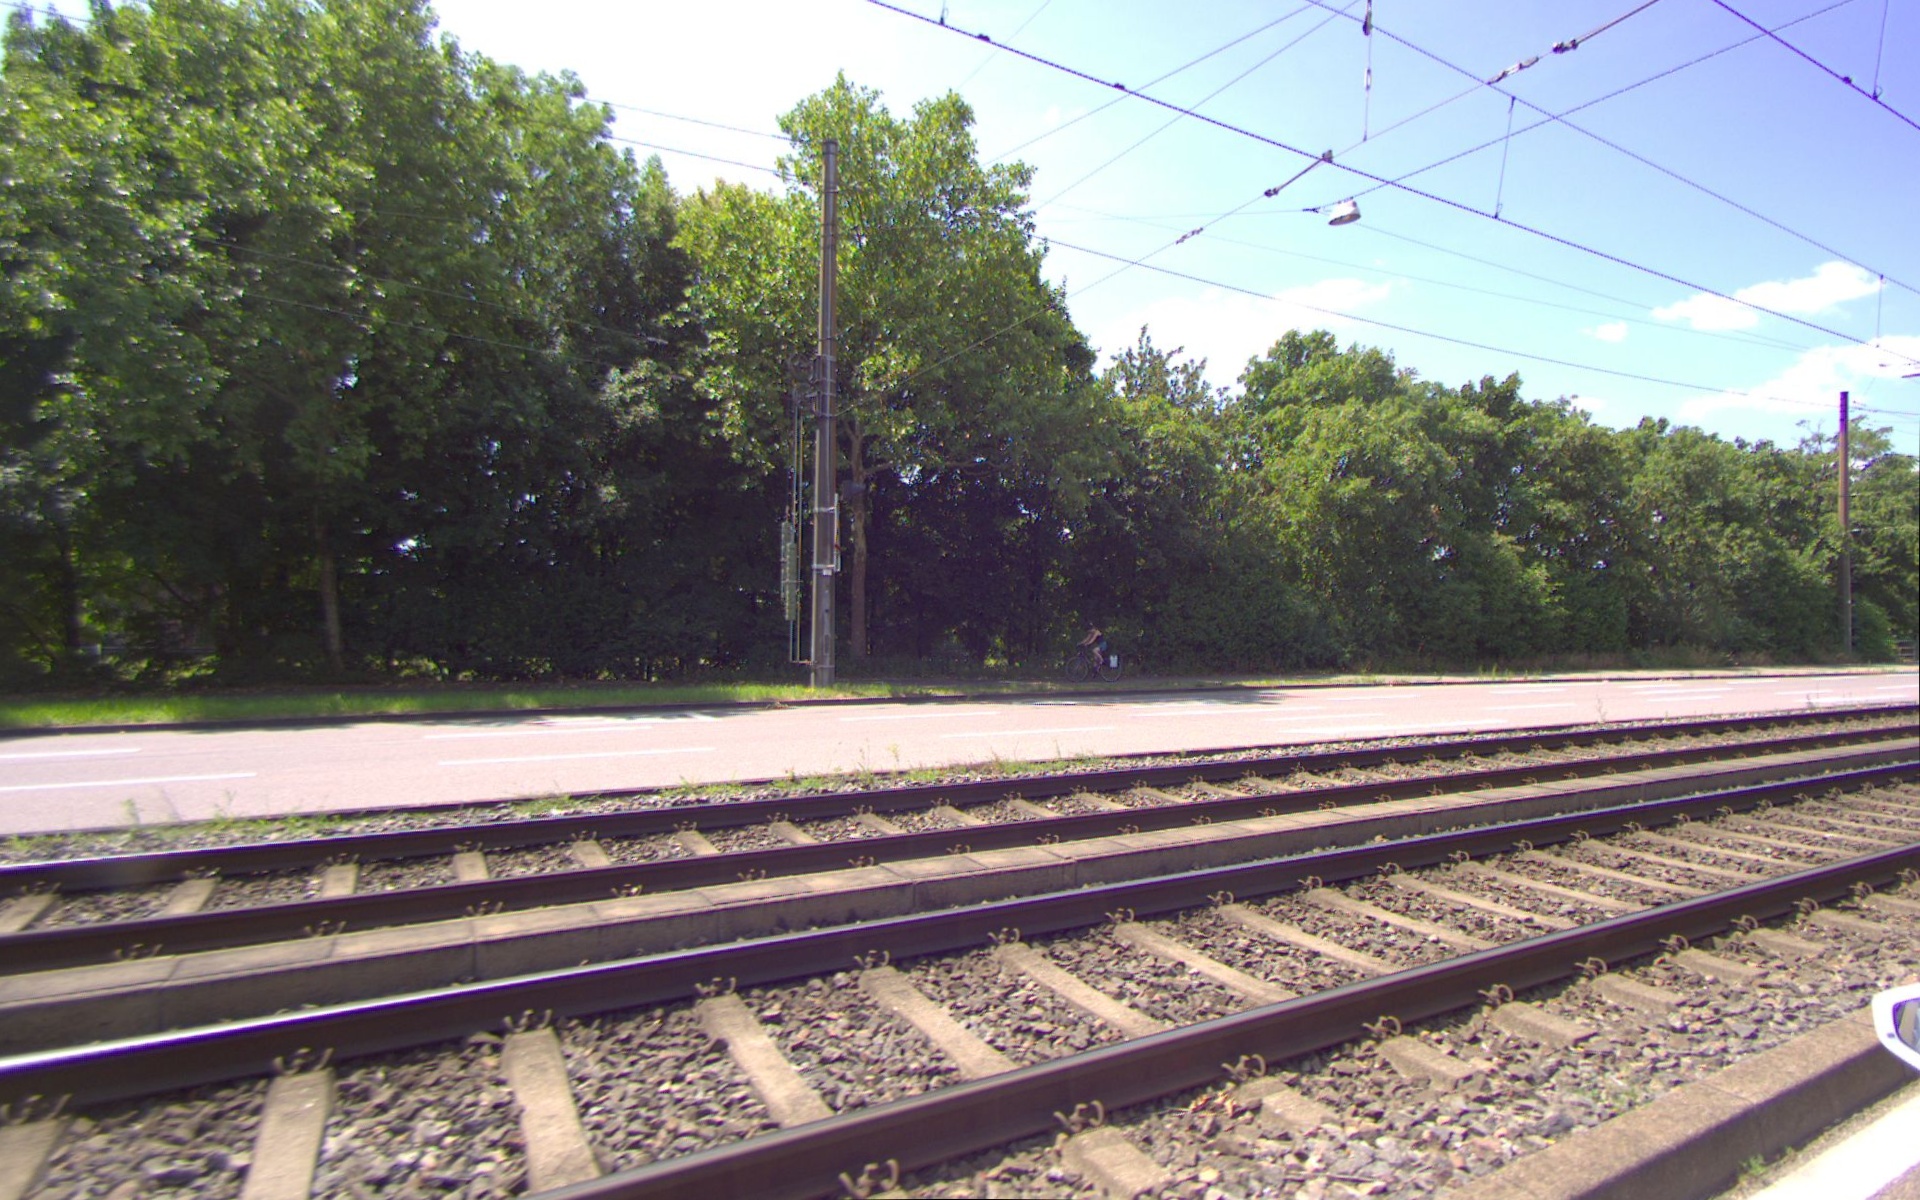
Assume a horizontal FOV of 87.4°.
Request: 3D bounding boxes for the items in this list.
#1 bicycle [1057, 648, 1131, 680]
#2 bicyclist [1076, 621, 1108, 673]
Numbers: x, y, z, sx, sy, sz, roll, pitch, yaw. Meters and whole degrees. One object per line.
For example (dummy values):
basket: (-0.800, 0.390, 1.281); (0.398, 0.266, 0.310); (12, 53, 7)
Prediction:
bicycle: (3.643, 1.733, 27.250); (2.042, 0.829, 0.584); (1, -2, -28)
bicyclist: (3.576, 1.273, 27.218); (0.623, 1.386, 0.566); (2, 0, -28)
